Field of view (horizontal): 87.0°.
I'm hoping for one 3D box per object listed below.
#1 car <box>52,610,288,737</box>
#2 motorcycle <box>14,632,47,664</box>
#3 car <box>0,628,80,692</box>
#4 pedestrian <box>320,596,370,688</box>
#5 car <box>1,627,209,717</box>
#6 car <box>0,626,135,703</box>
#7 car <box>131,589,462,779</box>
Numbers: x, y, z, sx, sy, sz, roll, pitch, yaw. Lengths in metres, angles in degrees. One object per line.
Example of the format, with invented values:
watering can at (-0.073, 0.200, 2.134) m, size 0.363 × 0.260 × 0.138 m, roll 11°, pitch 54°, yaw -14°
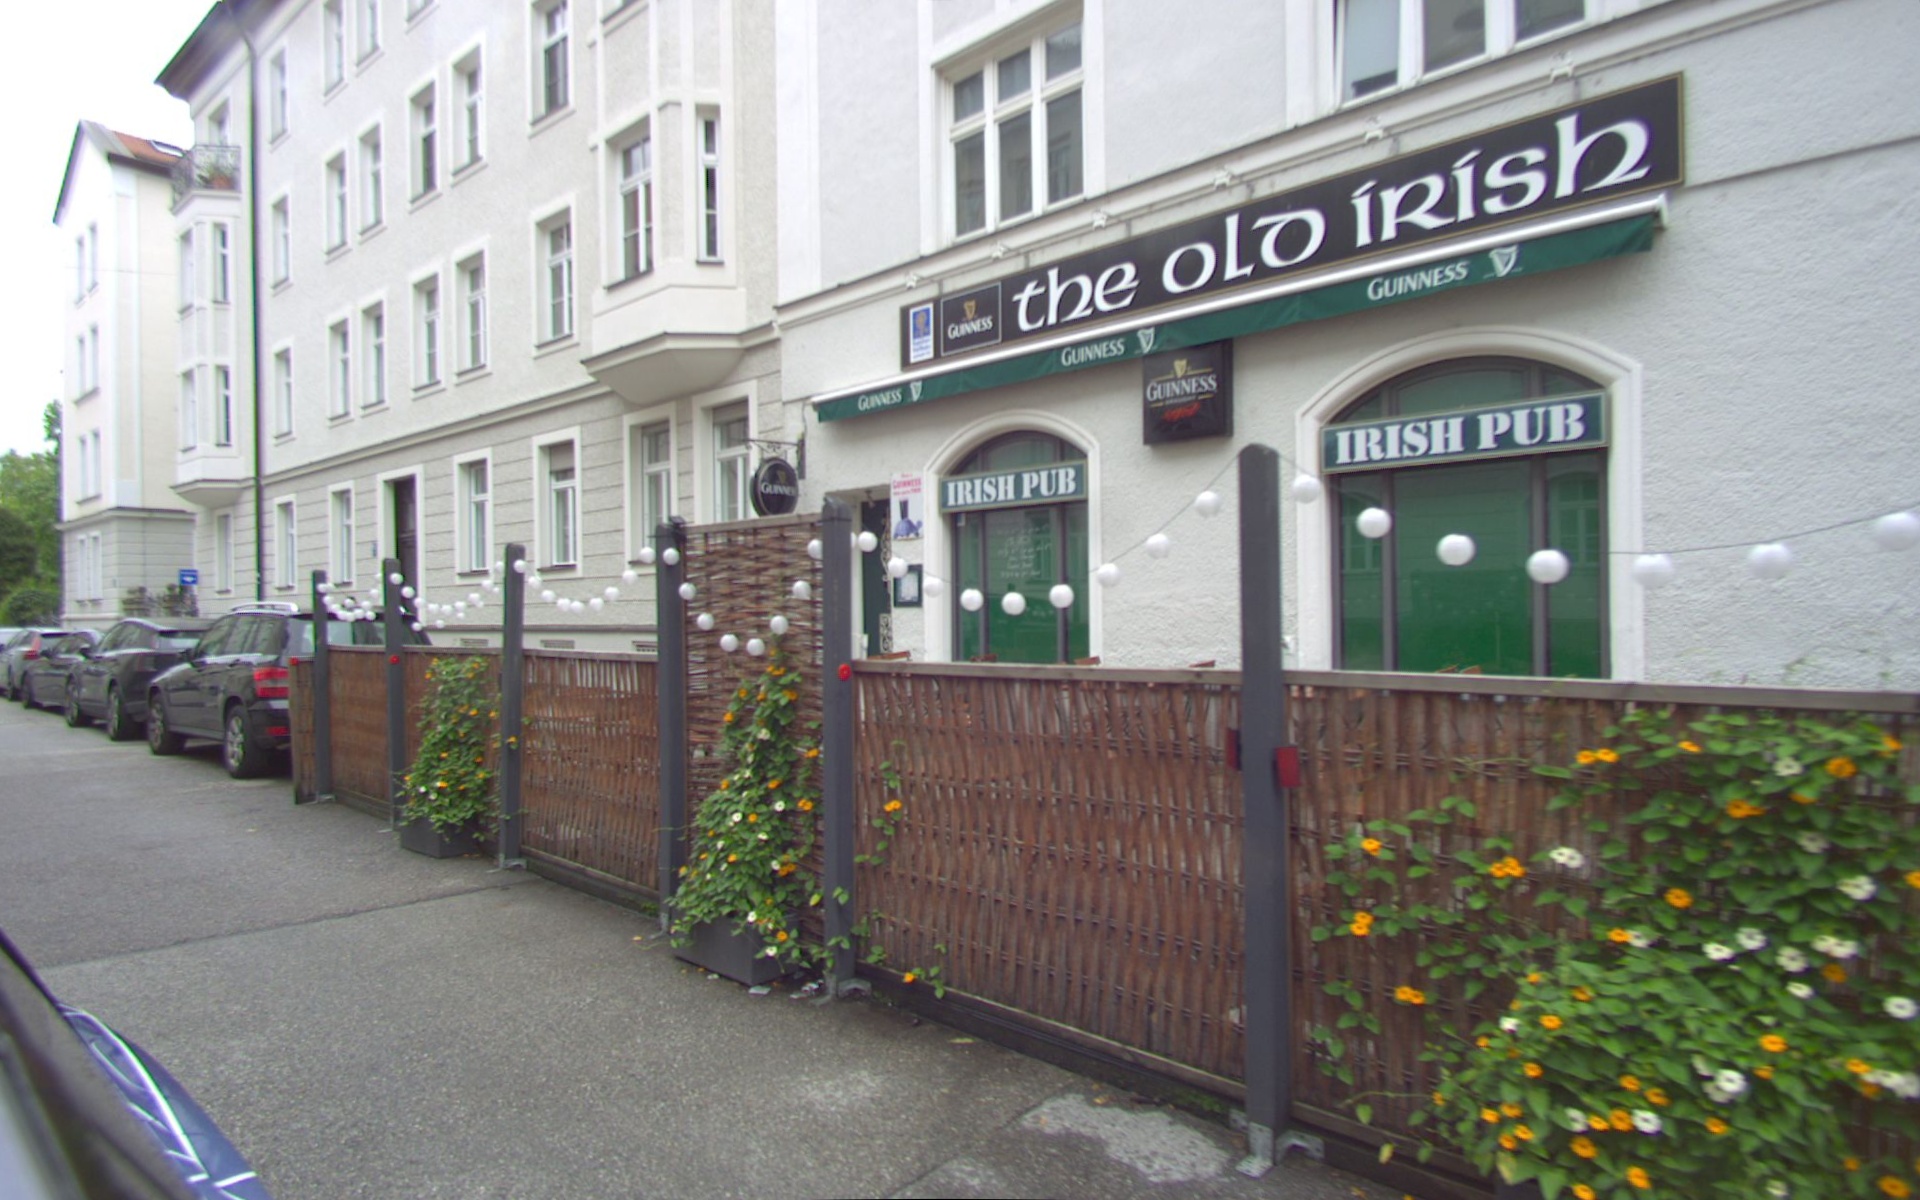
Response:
car at (-11.103, 0.933, 14.122) m, size 4.176 × 1.498 × 1.725 m, roll -2°, pitch -1°, yaw 39°
motorcycle at (-39.043, 1.998, 42.506) m, size 1.818 × 1.259 × 0.698 m, roll -1°, pitch 1°, yaw 38°
car at (-22.903, 1.403, 24.253) m, size 4.694 × 1.377 × 1.832 m, roll -2°, pitch -1°, yaw 37°
pedestrian at (-11.931, 0.799, 19.638) m, size 0.654 × 1.720 × 0.702 m, roll -1°, pitch -1°, yaw -17°
car at (-15.152, 1.198, 17.863) m, size 4.434 × 1.396 × 1.794 m, roll -2°, pitch -2°, yaw 36°
car at (-18.790, 1.276, 20.962) m, size 4.506 × 1.430 × 1.776 m, roll -1°, pitch -3°, yaw 40°
car at (-7.338, 0.840, 11.039) m, size 4.270 × 1.686 × 1.729 m, roll -2°, pitch -4°, yaw 39°
